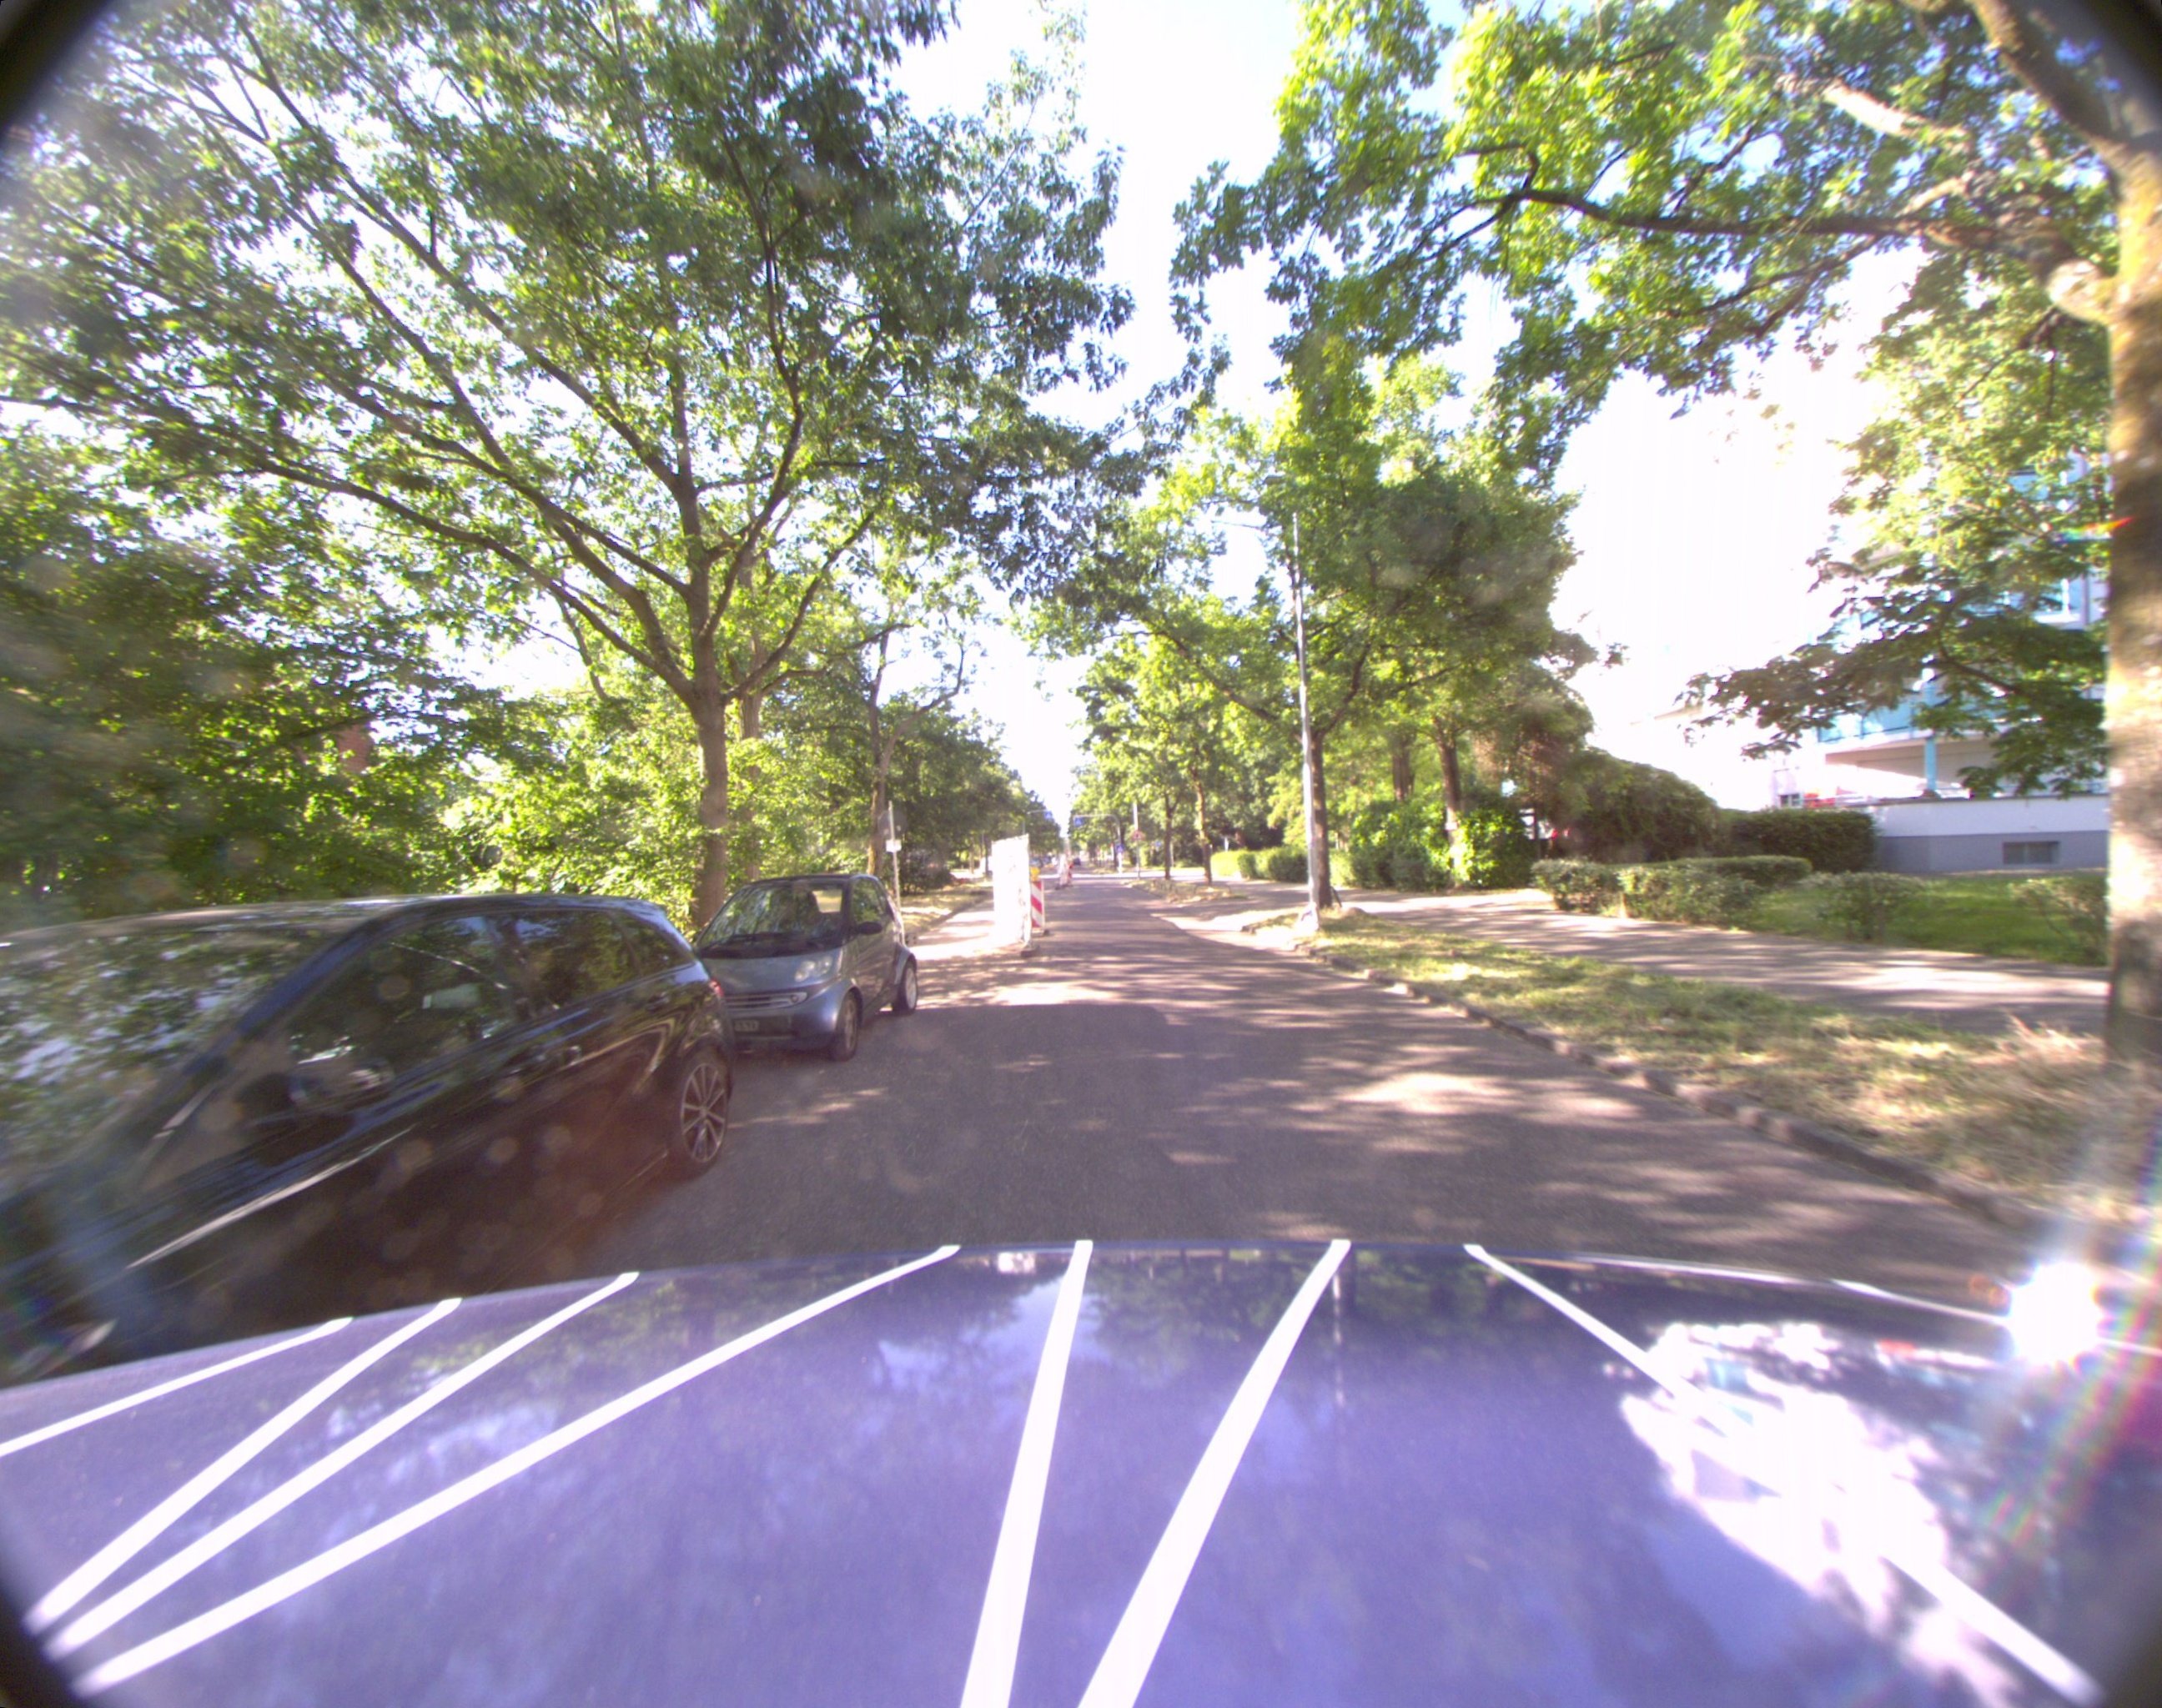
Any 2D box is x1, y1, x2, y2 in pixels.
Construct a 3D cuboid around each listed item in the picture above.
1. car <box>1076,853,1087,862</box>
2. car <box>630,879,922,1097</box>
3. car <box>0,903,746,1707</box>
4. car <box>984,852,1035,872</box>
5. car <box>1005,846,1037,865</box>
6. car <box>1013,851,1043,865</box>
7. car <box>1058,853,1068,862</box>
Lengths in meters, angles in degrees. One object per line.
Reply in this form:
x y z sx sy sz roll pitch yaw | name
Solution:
0.061 0.729 154.221 1.998 1.805 4.000 -3 0 2 | car
-2.596 1.064 7.105 1.497 1.500 2.677 -3 0 2 | car
-2.769 1.077 2.351 1.716 1.500 4.148 -3 0 -3 | car
-7.505 0.822 80.281 5.270 1.993 2.000 -1 0 -2 | car
-8.535 0.220 107.693 4.412 2.531 1.888 -1 0 -5 | car
-7.882 0.571 112.963 4.245 1.993 1.565 -1 0 -5 | car
-3.793 0.639 159.798 1.998 1.871 4.000 0 1 1 | car
